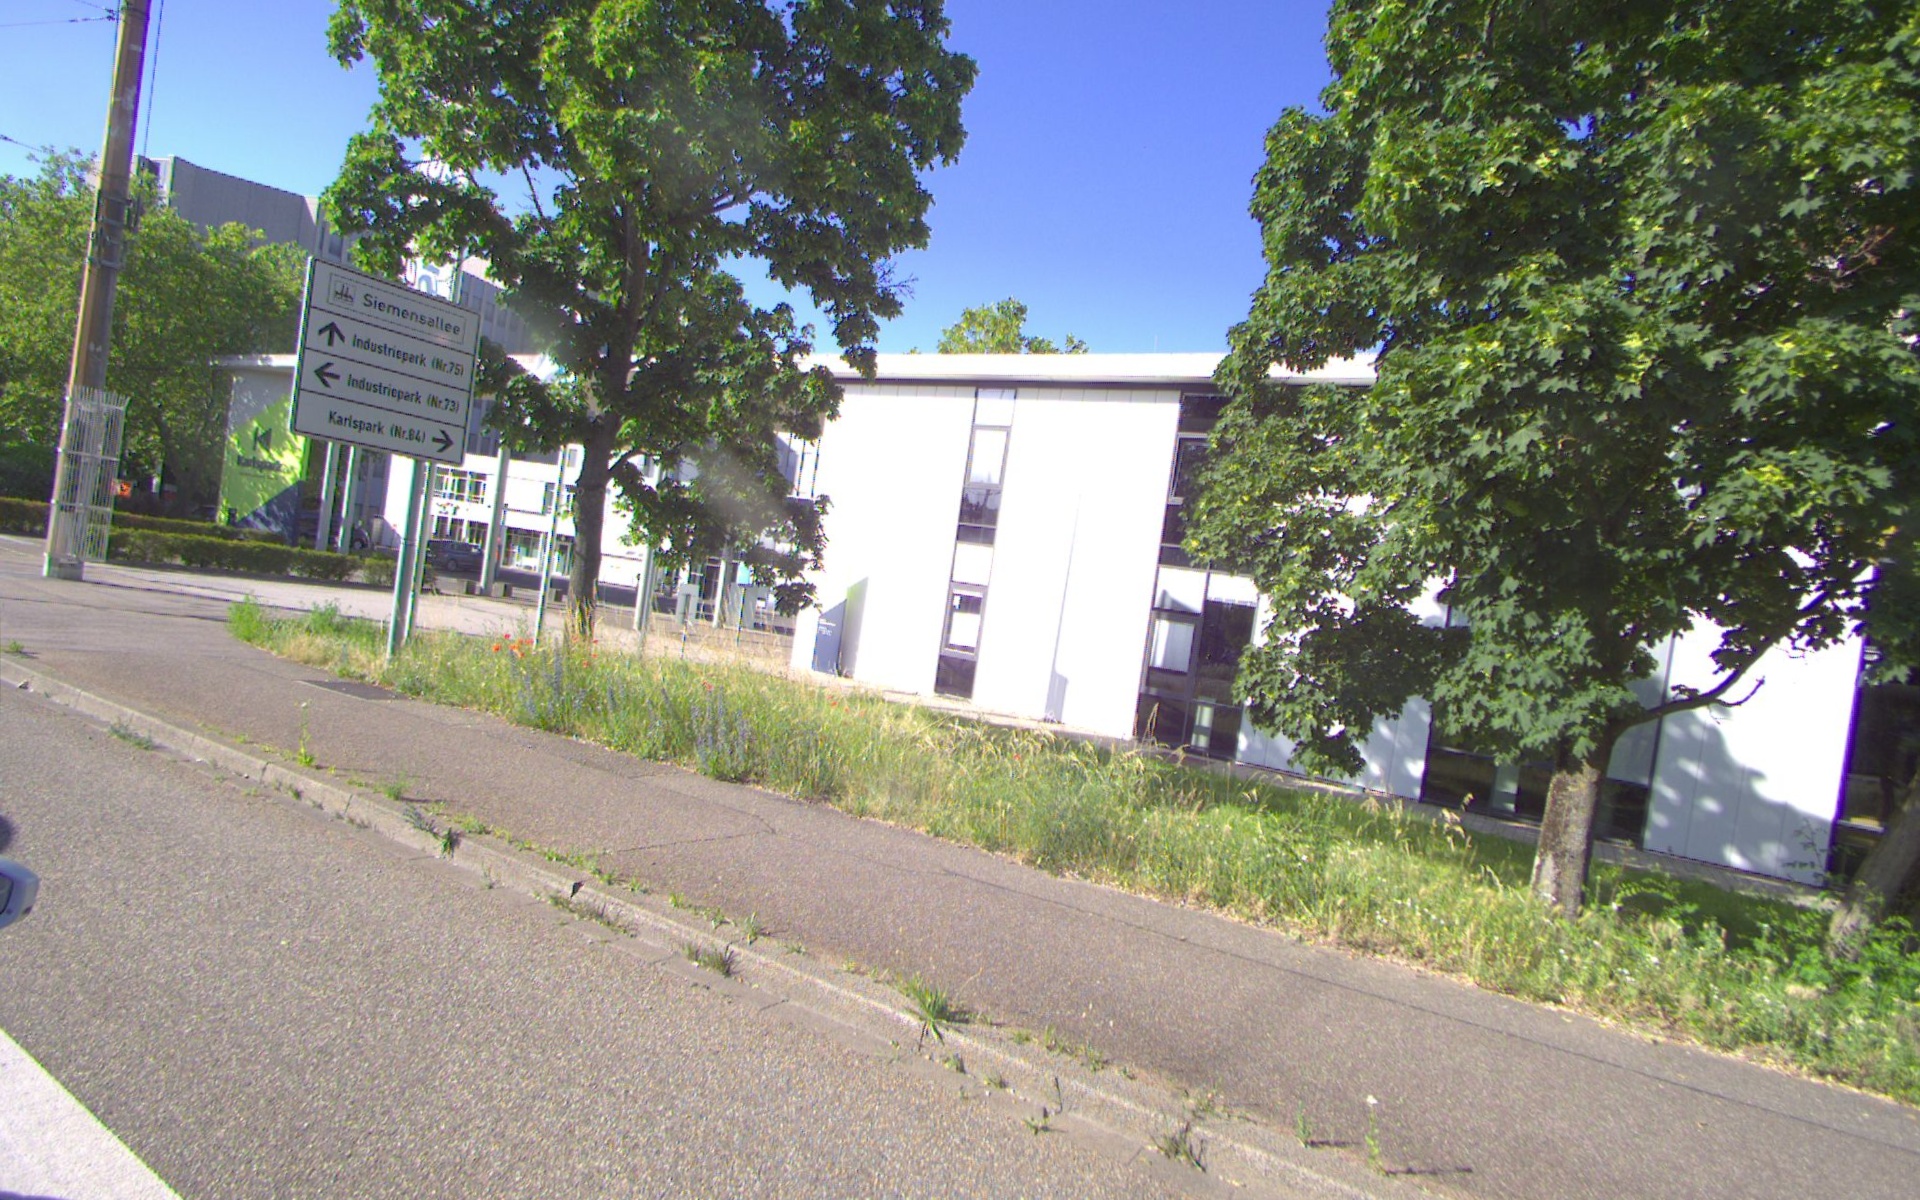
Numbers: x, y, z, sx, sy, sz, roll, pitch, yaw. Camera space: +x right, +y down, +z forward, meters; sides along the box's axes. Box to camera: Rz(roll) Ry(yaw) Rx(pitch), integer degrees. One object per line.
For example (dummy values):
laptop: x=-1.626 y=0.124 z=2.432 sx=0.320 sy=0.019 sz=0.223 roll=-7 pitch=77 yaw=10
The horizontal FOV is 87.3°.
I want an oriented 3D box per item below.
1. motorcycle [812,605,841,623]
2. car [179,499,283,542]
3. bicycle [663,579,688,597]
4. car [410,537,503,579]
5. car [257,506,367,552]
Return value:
motorcycle: x=-8.981 y=0.917 z=67.857 sx=1.701 sy=0.959 sz=0.653 roll=8 pitch=0 yaw=17
car: x=-42.662 y=-4.638 z=58.968 sx=1.861 sy=1.706 sz=4.468 roll=8 pitch=-1 yaw=26
bicycle: x=-20.266 y=-0.863 z=71.669 sx=1.591 sy=1.016 sz=0.566 roll=8 pitch=0 yaw=17
car: x=-26.685 y=-2.209 z=53.451 sx=1.918 sy=1.597 sz=4.000 roll=8 pitch=-1 yaw=23
car: x=-36.287 y=-3.953 z=56.508 sx=2.052 sy=1.778 sz=4.900 roll=8 pitch=-1 yaw=17
